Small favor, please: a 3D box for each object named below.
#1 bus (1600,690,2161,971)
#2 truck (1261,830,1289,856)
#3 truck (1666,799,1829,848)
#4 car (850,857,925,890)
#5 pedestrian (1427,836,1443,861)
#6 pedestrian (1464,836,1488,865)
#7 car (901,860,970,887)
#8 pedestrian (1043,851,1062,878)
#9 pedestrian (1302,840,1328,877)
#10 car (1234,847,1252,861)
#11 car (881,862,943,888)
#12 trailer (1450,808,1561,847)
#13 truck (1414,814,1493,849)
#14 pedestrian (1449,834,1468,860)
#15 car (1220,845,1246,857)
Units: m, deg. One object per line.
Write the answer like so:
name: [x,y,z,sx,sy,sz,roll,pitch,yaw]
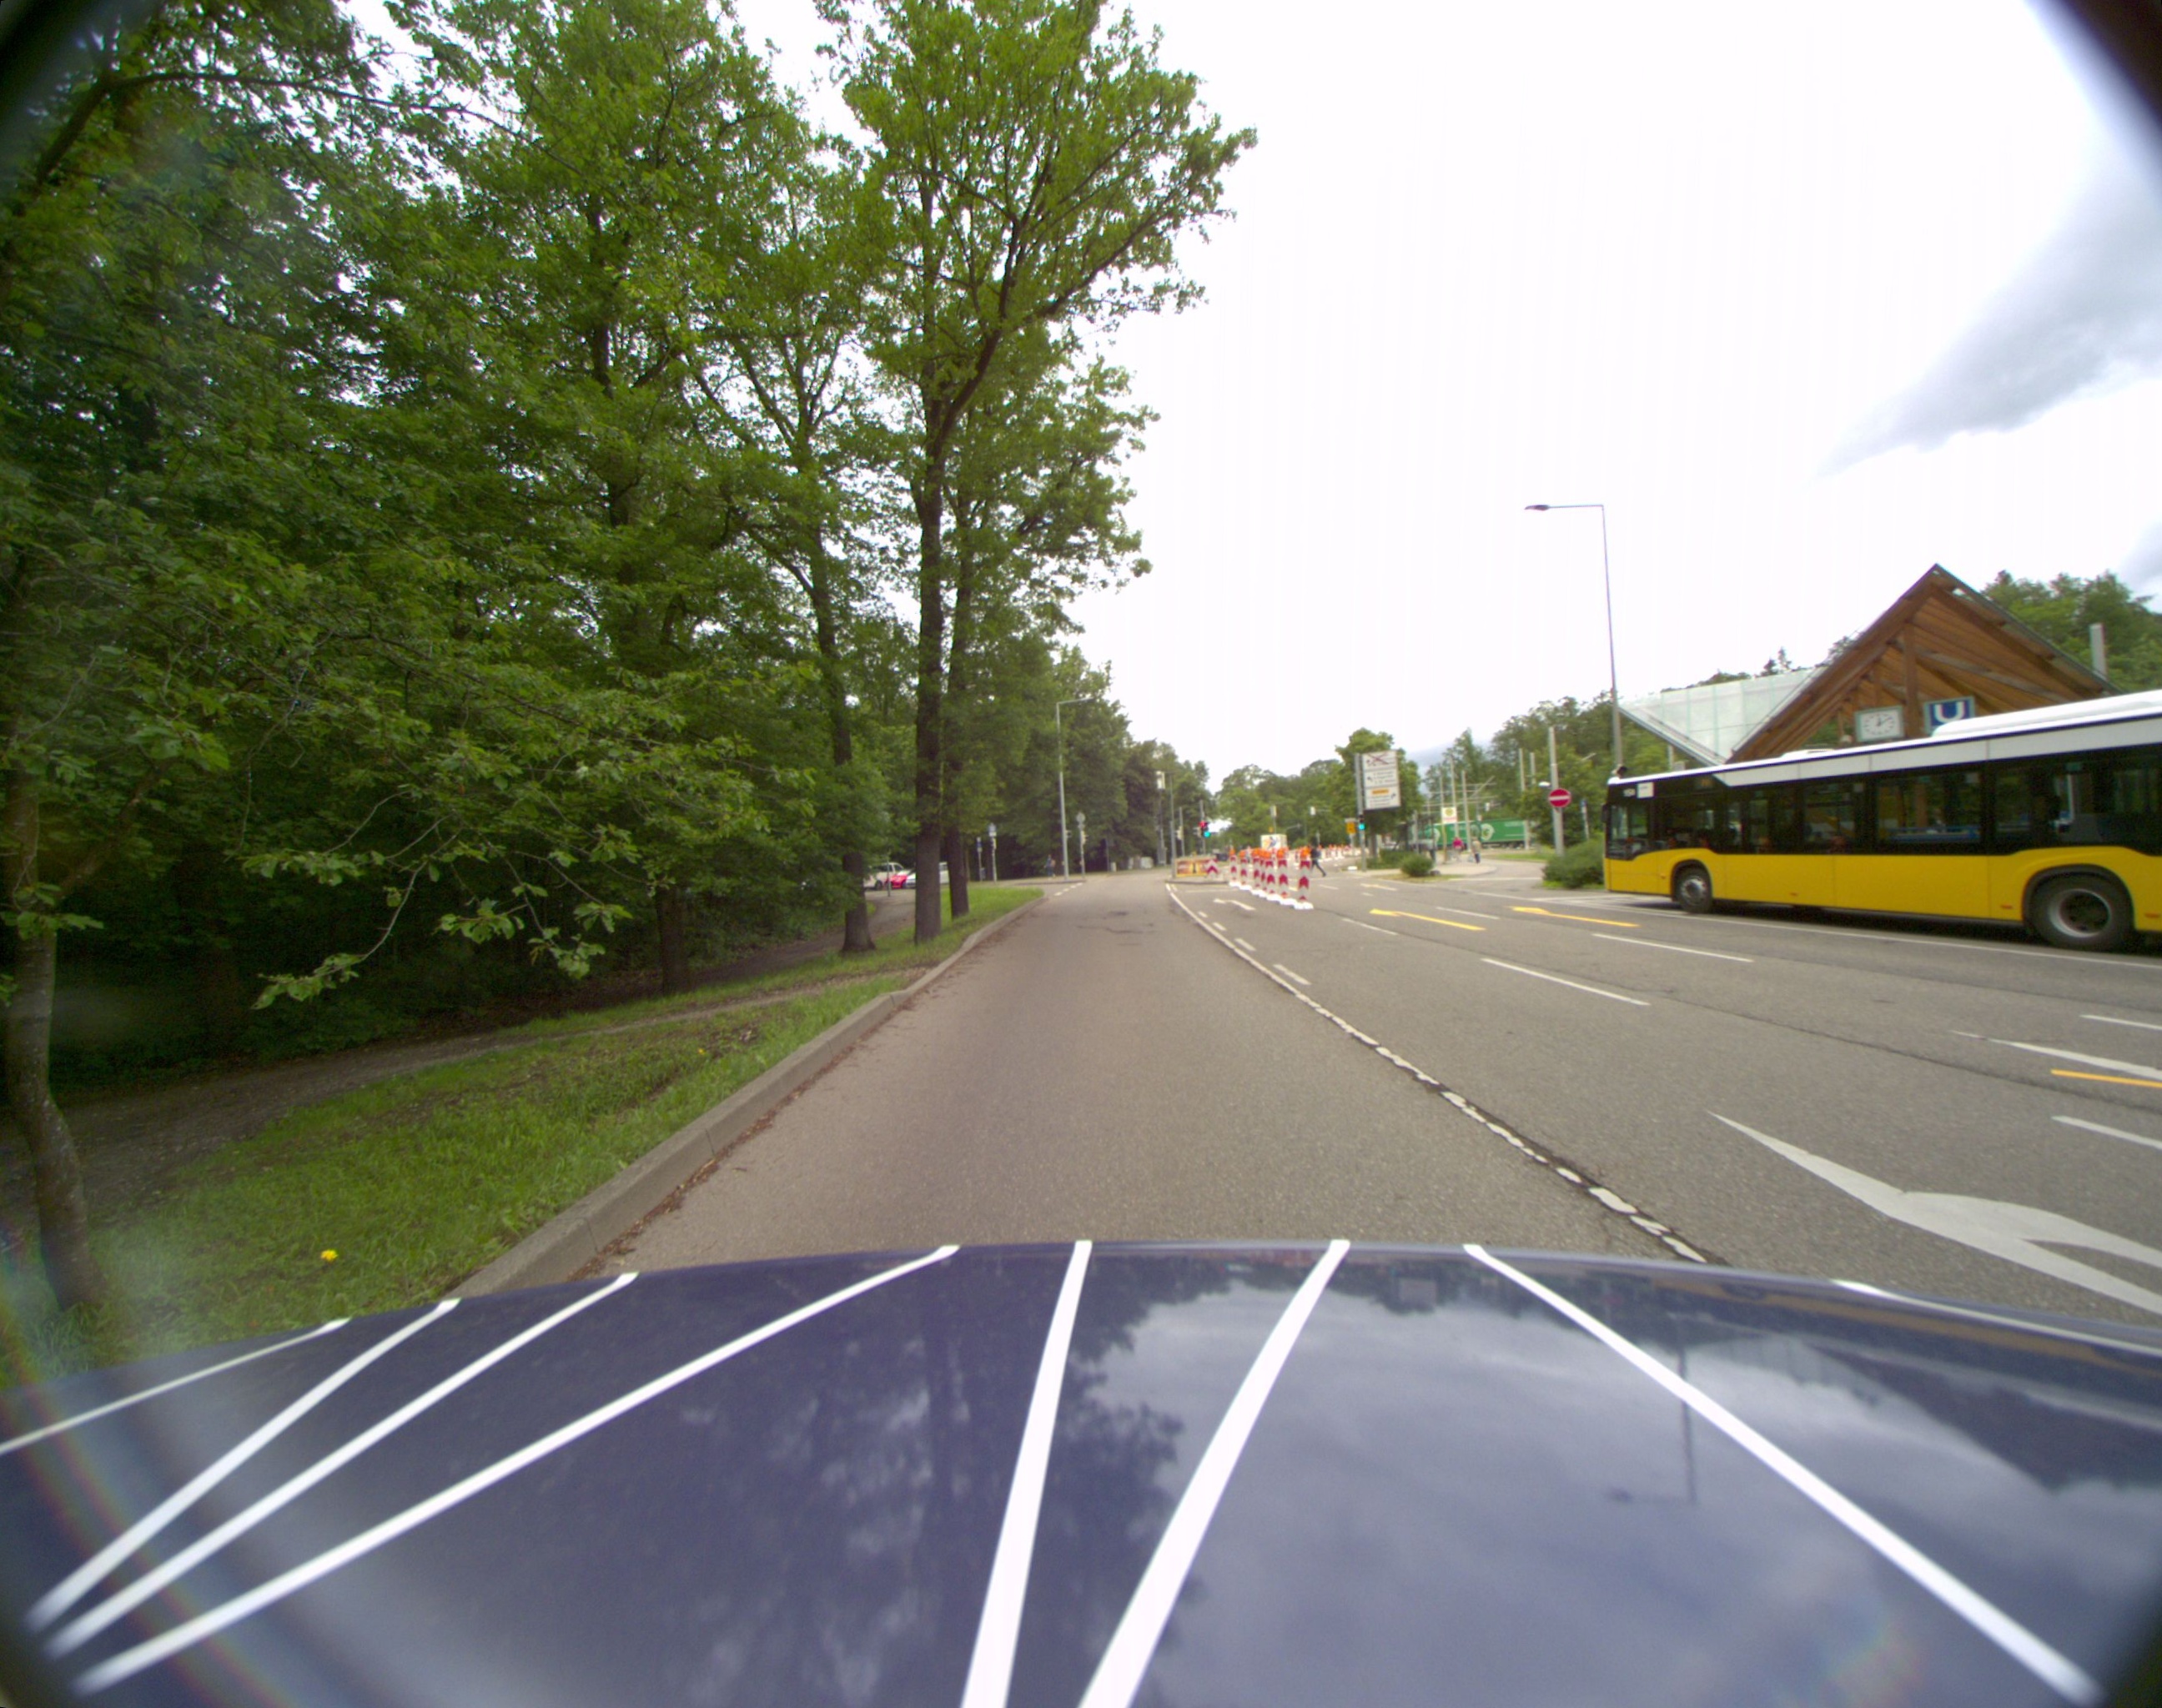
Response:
bus: [13.495,-0.327,12.798,2.906,3.109,9.759,-2,0,1]
truck: [24.653,-1.383,96.370,2.631,3.219,6.215,-1,1,20]
truck: [36.712,-1.598,42.165,2.609,2.157,6.295,-4,-1,-17]
car: [-14.201,1.424,56.033,2.058,1.946,5.191,-4,1,32]
pedestrian: [22.976,-0.367,49.312,0.775,1.537,0.629,-4,1,14]
pedestrian: [22.066,-0.207,42.423,0.769,1.516,0.873,-4,0,-37]
car: [-10.093,1.360,52.953,1.995,1.543,4.429,-4,-1,35]
pedestrian: [-1.818,0.648,48.681,1.093,1.666,0.911,-3,1,-2]
pedestrian: [11.933,0.204,38.753,0.992,1.798,0.767,-4,0,26]
car: [17.931,-0.020,84.288,1.811,1.500,4.310,-2,1,10]
car: [-12.037,1.496,54.421,1.890,1.543,4.007,-4,-1,35]
trailer: [52.197,-3.184,94.079,3.792,3.858,11.849,-4,-1,-24]
truck: [49.226,-2.896,100.799,3.792,3.858,8.757,-4,0,-24]
pedestrian: [23.494,-0.443,47.275,0.791,1.542,0.776,-4,0,12]
car: [28.658,-0.531,143.639,2.003,1.805,4.824,-4,-1,-29]
